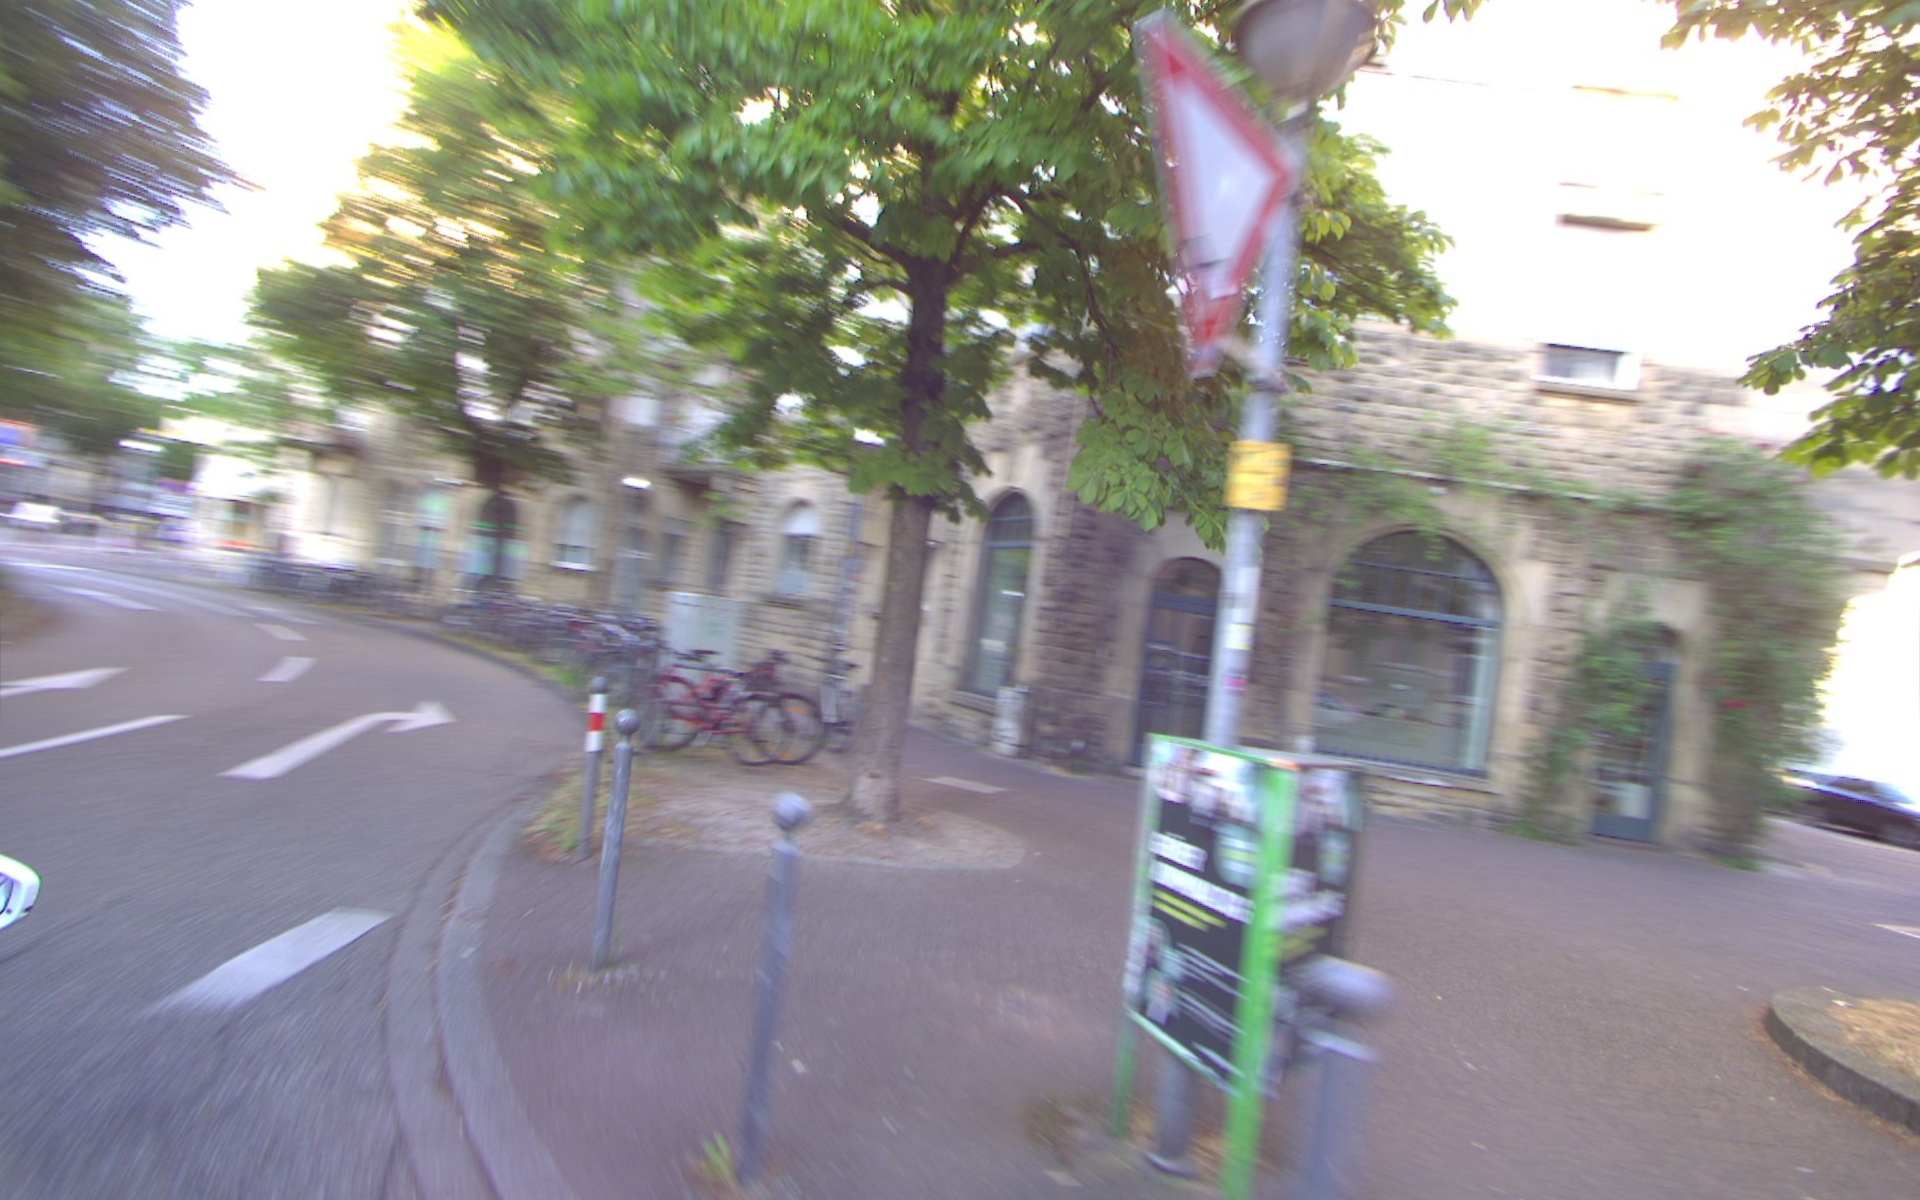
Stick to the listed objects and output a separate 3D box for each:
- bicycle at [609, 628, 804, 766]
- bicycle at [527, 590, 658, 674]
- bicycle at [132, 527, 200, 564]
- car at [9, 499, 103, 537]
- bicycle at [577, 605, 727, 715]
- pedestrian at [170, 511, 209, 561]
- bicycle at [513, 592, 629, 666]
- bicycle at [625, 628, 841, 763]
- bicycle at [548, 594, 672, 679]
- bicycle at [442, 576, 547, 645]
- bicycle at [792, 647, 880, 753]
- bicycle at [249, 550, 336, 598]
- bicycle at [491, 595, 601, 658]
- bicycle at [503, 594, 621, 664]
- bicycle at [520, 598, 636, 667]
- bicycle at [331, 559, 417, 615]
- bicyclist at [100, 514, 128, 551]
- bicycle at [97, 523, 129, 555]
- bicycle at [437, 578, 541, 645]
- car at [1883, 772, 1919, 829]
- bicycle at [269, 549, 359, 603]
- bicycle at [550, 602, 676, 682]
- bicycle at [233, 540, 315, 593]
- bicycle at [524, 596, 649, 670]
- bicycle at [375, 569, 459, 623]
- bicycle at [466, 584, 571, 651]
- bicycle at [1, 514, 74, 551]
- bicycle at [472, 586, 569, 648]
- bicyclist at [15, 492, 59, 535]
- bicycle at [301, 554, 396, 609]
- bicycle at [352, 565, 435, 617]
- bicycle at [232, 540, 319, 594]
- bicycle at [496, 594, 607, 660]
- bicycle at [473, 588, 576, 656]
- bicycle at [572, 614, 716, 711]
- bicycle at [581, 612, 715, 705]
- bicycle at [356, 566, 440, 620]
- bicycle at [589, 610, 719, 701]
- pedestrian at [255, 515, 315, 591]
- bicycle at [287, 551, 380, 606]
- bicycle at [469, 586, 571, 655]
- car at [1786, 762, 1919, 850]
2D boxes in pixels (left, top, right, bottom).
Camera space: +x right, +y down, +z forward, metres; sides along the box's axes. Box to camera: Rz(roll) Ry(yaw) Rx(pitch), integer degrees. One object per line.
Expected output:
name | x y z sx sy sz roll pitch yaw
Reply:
bicycle | -2.311 0.892 9.231 1.584 1.052 0.431 8 -1 -17
bicycle | -6.275 0.565 17.241 1.907 1.214 0.546 9 -1 -40
bicycle | -31.157 -2.133 39.502 0.720 1.143 1.873 7 -2 37
car | -51.755 -4.681 57.732 1.920 1.527 4.621 8 -2 -14
bicycle | -3.824 0.757 12.529 1.590 1.161 0.551 8 -1 -29
pedestrian | -30.136 -2.500 39.352 0.911 1.816 0.867 7 -1 40
bicycle | -7.157 0.553 18.578 1.840 1.129 0.415 9 -1 -37
bicycle | -2.164 0.923 9.668 1.871 1.052 0.431 8 -1 -17
bicycle | -5.785 0.622 16.705 1.782 1.182 0.443 9 -1 -37
bicycle | -9.855 0.250 21.348 1.873 1.229 0.487 9 -7 -41
bicycle | -1.453 1.108 11.539 0.427 0.980 1.718 8 -1 -23
bicycle | -18.242 -0.702 27.527 0.687 1.050 1.808 7 -2 22
bicycle | -8.024 0.527 19.556 1.843 1.011 0.414 9 -1 -41
bicycle | -7.488 0.564 19.005 1.908 1.073 0.529 9 -1 -40
bicycle | -6.940 0.607 18.343 1.841 1.026 0.415 9 -1 -37
bicycle | -14.743 -0.324 25.323 0.479 1.142 1.669 15 4 40
bicyclist | -36.532 -2.891 43.450 0.693 1.479 0.777 8 -1 -32
bicycle | -36.571 -2.643 43.455 0.693 1.251 1.847 8 -1 -32
bicycle | -10.125 0.275 21.690 0.484 1.152 1.882 12 0 36
car | 28.698 5.951 28.282 1.793 1.499 3.912 8 -3 1
bicycle | -17.157 -0.624 26.757 0.629 1.176 1.892 7 -1 22
bicycle | -5.612 0.693 16.337 1.782 1.076 0.443 9 -1 -37
bicycle | -19.655 -0.945 28.877 0.639 1.251 1.794 7 -1 21
bicycle | -6.617 0.603 17.901 1.907 1.077 0.546 9 -1 -40
bicycle | -13.157 -0.083 24.420 0.478 1.091 1.673 7 -1 31
bicycle | -9.077 0.379 20.733 1.843 1.158 0.414 9 -1 -41
bicycle | -34.206 -2.489 37.340 0.687 1.067 1.793 7 -2 23
bicycle | -9.256 0.389 21.267 0.563 1.117 1.855 7 -2 26
bicyclist | -34.159 -3.196 37.245 0.687 1.428 0.865 7 -1 24
bicycle | -15.836 -0.462 26.106 0.693 1.176 1.888 7 -2 33
bicycle | -14.298 -0.226 25.425 0.479 1.091 1.670 7 -2 39
bicycle | -18.974 -0.890 27.930 0.687 1.251 1.794 7 -1 22
bicycle | -7.833 0.535 19.340 1.843 1.064 0.414 9 -1 -41
bicycle | -8.704 0.460 20.173 1.843 1.096 0.417 9 -20 -41
bicycle | -4.046 0.812 12.913 1.590 1.032 0.551 9 -1 -29
bicycle | -4.270 0.815 13.819 1.593 1.076 0.415 9 -1 -34
bicycle | -13.678 -0.156 24.531 0.478 1.091 1.673 7 -1 31
bicycle | -4.315 0.798 14.238 1.593 1.088 0.415 9 -1 -34
pedestrian | -20.620 -1.429 30.729 1.044 2.111 1.011 8 0 35
bicycle | -16.473 -0.539 26.492 0.630 1.176 1.888 7 -2 33
bicycle | -8.887 0.438 20.375 1.843 1.135 0.417 9 -20 -41
car | 21.112 4.713 22.611 1.792 1.499 4.010 8 -3 4
